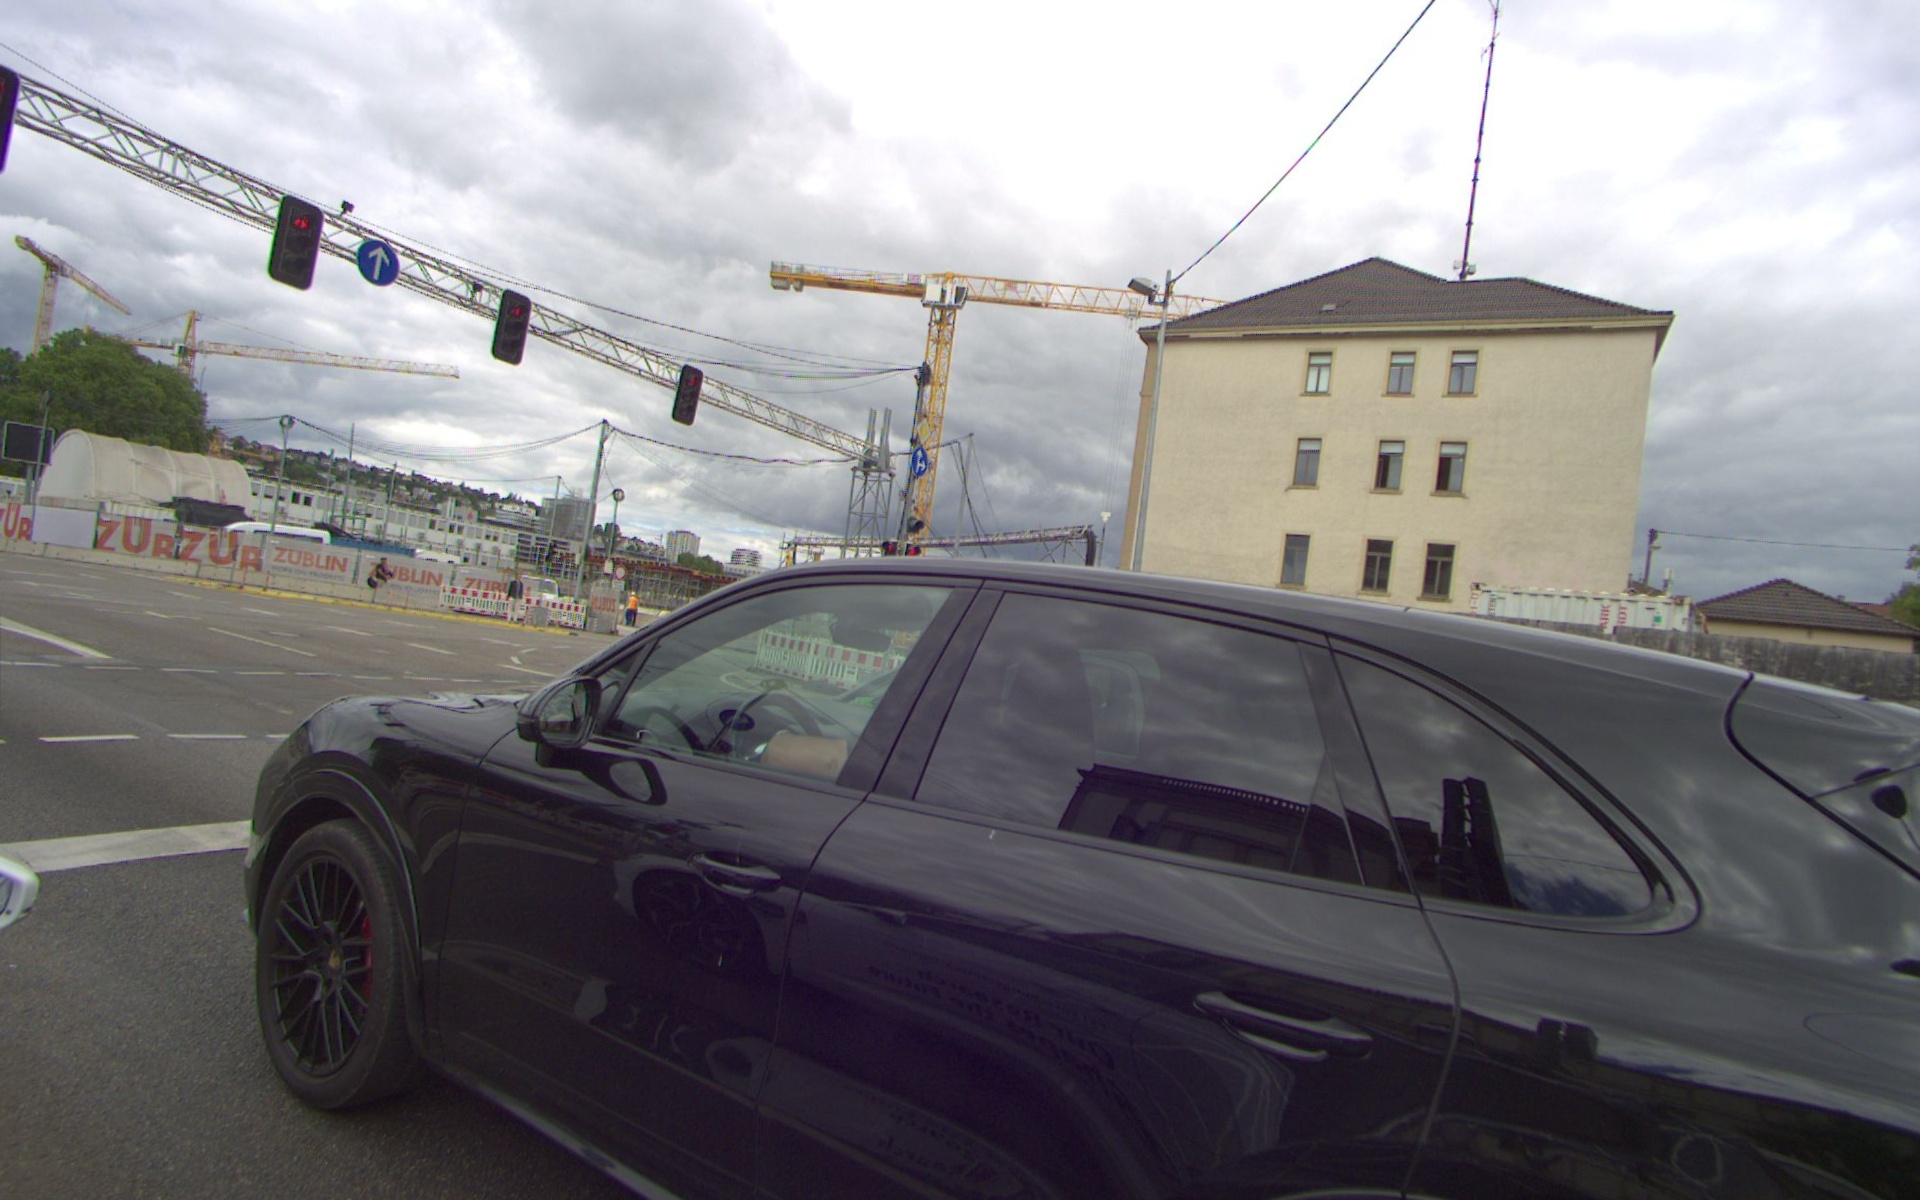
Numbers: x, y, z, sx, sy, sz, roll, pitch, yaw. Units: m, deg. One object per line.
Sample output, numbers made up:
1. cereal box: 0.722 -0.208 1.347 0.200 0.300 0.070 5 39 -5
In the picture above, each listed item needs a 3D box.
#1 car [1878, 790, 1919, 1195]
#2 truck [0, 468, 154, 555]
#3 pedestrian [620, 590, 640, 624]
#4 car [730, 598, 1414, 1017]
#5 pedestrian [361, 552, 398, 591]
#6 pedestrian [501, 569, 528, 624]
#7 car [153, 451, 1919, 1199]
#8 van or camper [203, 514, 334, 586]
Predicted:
1. car: 5.723 1.772 2.598 4.579 1.589 1.825 6 -2 34
2. truck: -57.895 -5.792 61.928 3.875 4.086 13.088 8 -2 12
3. pedestrian: -17.729 0.358 54.046 0.508 1.737 0.654 7 -1 21
4. car: 0.598 1.047 6.372 3.818 1.561 1.667 7 -2 33
5. pedestrian: -22.782 -1.110 39.484 0.891 1.393 0.797 8 -1 -15
6. pedestrian: -17.252 -0.144 38.984 0.647 2.037 0.513 8 -1 -33
7. car: 0.042 0.719 2.696 4.559 1.705 1.959 7 -2 33
8. van or camper: -29.798 -2.132 43.411 4.204 2.384 1.976 10 -3 -44
